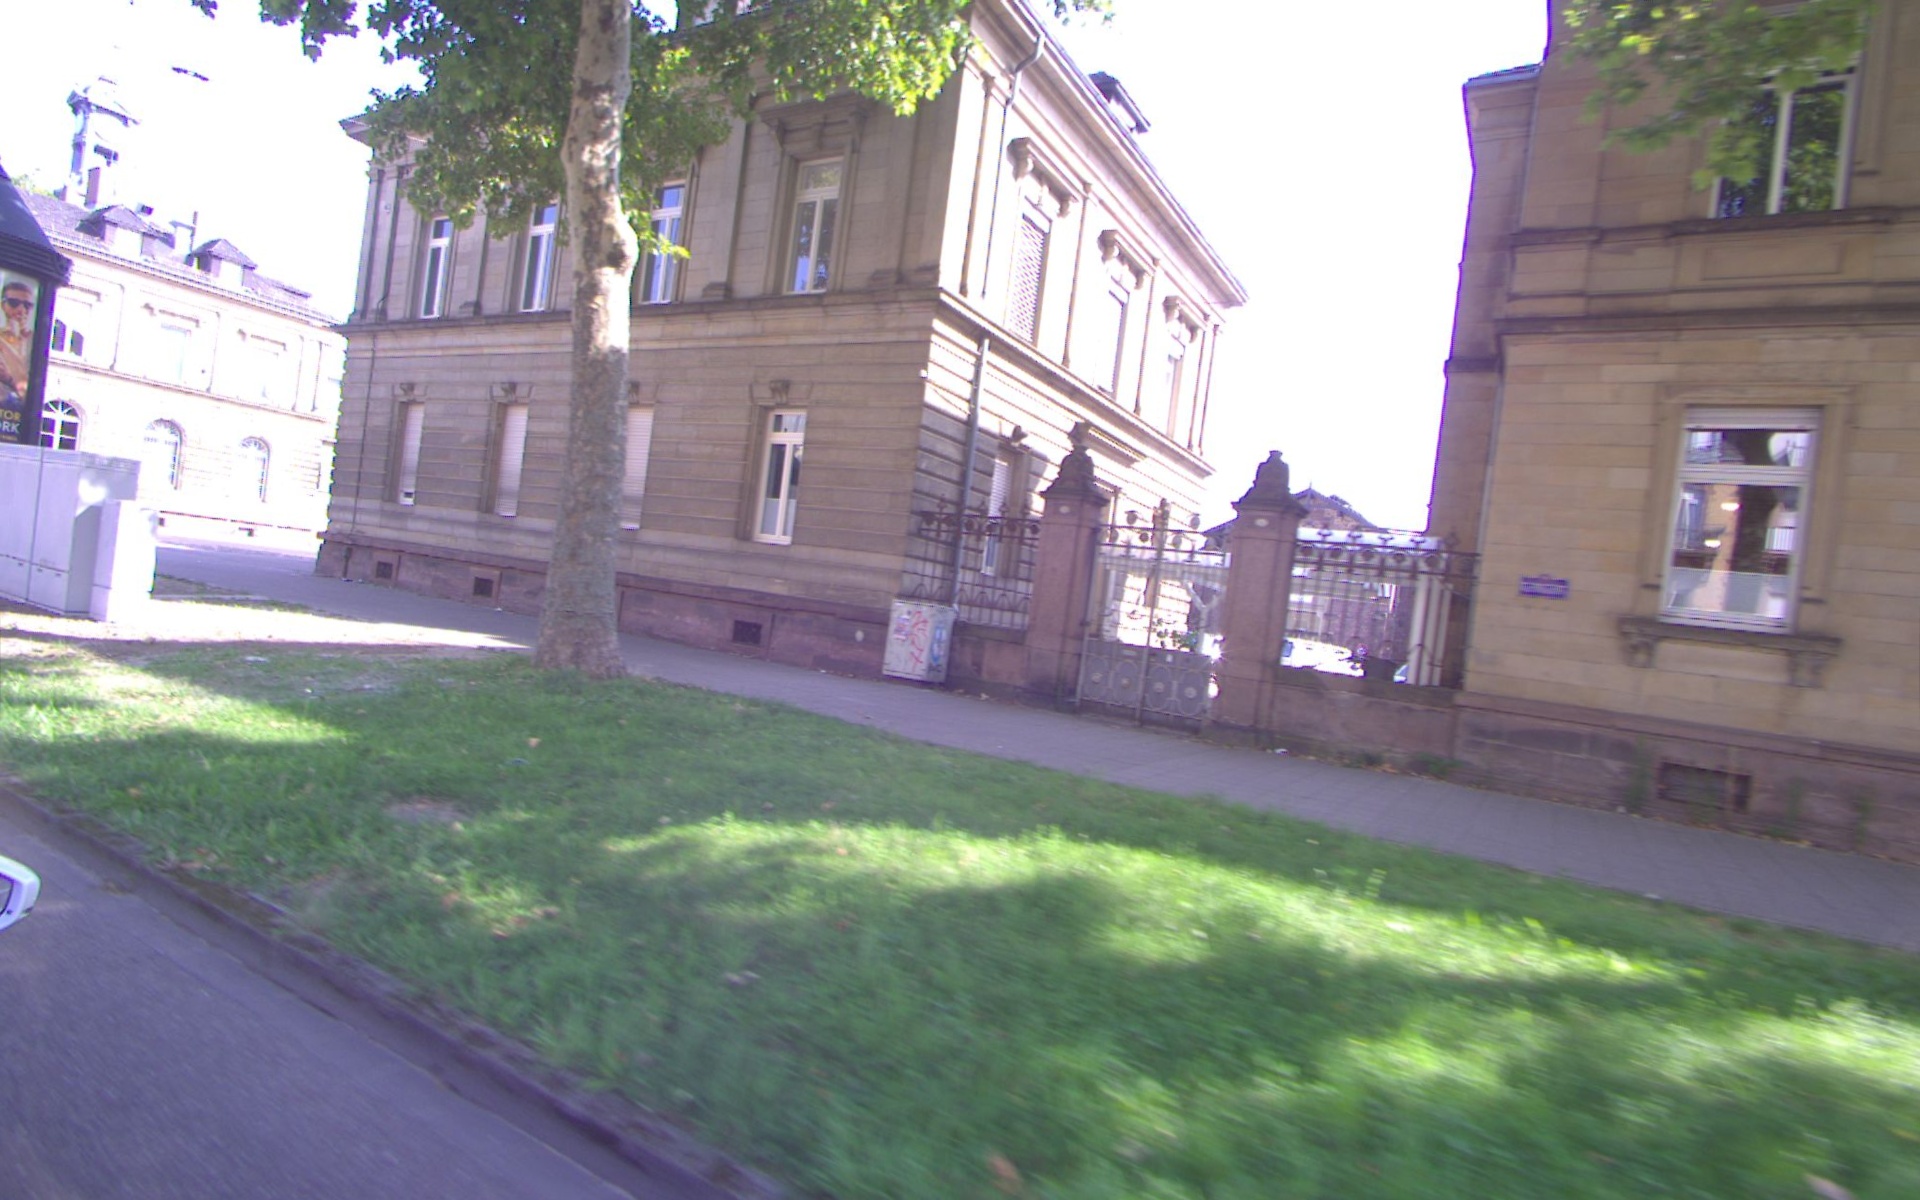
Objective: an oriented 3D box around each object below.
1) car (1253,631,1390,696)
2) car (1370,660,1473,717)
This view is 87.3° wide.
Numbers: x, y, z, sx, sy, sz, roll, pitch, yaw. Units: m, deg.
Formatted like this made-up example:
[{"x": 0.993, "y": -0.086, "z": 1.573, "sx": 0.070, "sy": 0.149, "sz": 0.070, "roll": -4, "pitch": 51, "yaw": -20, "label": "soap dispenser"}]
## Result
[{"x": 13.359, "y": 2.340, "z": 37.126, "sx": 4.964, "sy": 1.767, "sz": 1.809, "roll": 8, "pitch": -1, "yaw": -29, "label": "car"}, {"x": 14.237, "y": 2.736, "z": 30.919, "sx": 1.796, "sy": 1.359, "sz": 4.108, "roll": 6, "pitch": -2, "yaw": 40, "label": "car"}]
